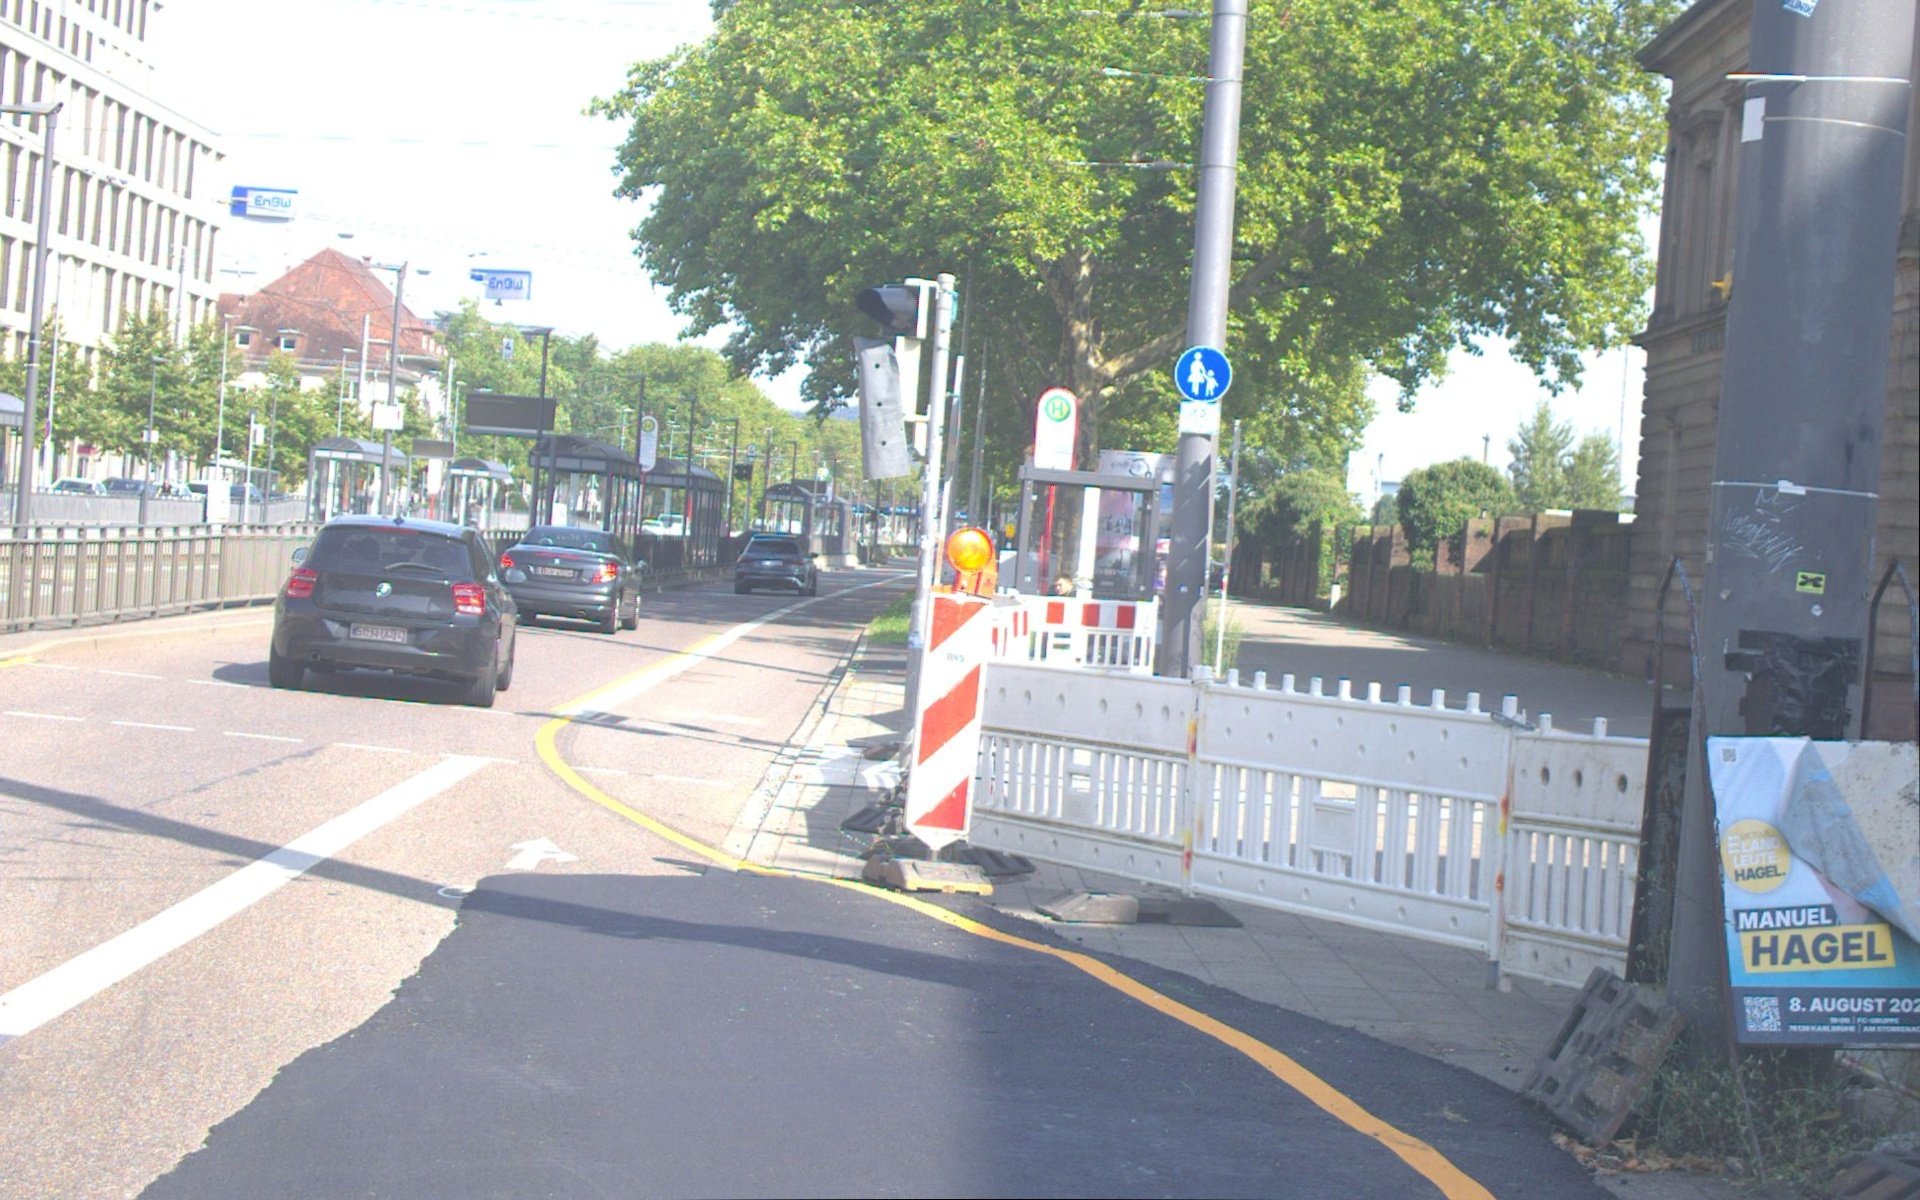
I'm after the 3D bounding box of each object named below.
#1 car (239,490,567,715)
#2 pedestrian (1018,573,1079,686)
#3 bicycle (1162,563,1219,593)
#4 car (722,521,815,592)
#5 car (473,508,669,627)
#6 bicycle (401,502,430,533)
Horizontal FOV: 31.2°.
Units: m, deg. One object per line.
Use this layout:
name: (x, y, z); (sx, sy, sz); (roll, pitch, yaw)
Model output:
car: (-4.486, -0.005, 28.286); (1.907, 1.532, 4.000); (6, 1, 0)
pedestrian: (1.029, 0.340, 39.955); (0.608, 1.273, 0.759); (3, 1, -2)
bicycle: (9.228, -0.882, 137.839); (2.173, 1.073, 0.743); (4, 0, -1)
car: (-4.579, -1.047, 82.689); (1.907, 1.532, 4.000); (4, 1, 0)
car: (-5.340, -0.462, 47.704); (1.994, 1.436, 4.000); (4, 1, 3)
bicycle: (-21.173, -3.207, 133.628); (0.471, 1.143, 1.482); (5, 0, 15)
